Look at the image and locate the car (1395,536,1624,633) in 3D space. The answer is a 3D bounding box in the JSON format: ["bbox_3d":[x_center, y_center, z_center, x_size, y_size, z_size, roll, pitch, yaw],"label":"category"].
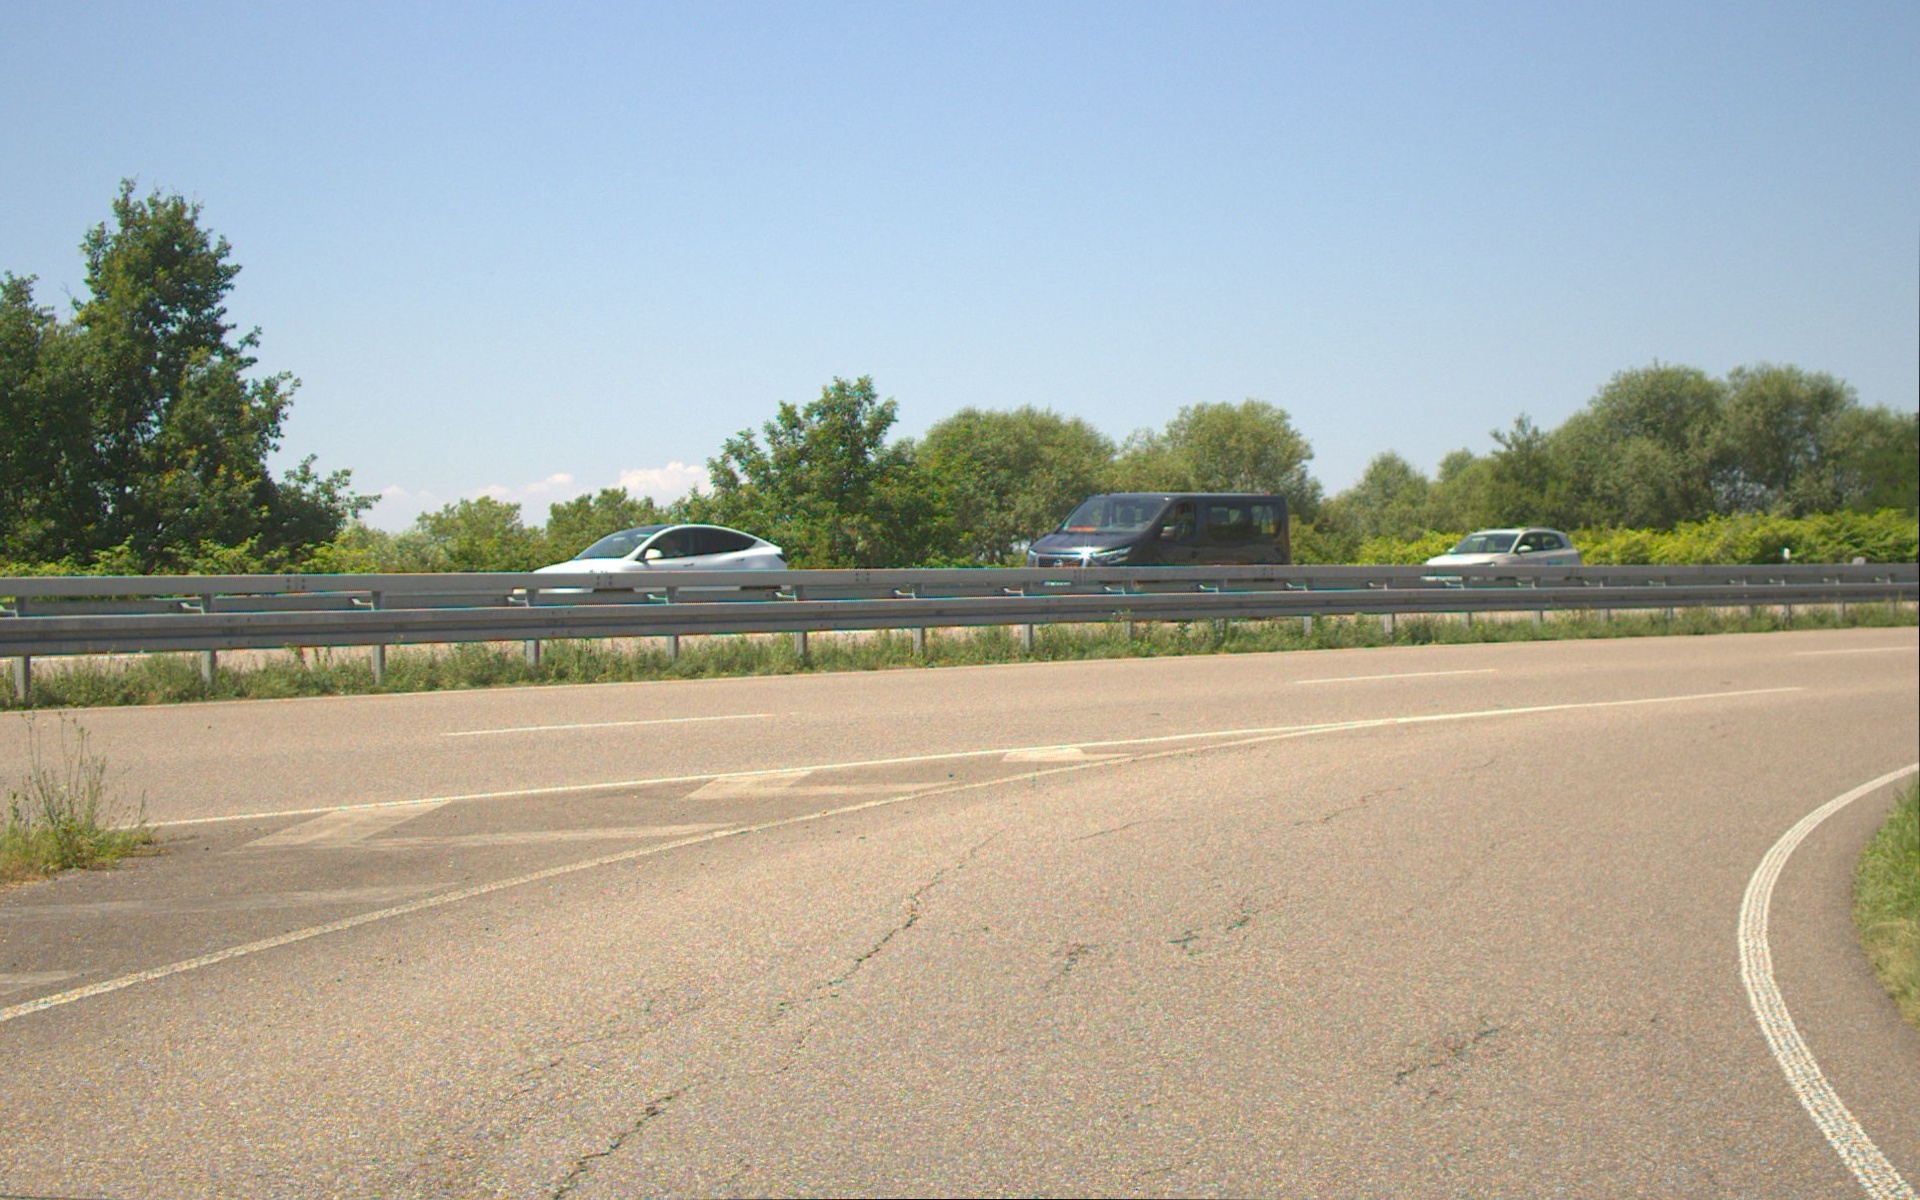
[{"bbox_3d":[11.268,-0.306,70.288,2.209,1.886,4.899,1,0,44],"label":"car"}]

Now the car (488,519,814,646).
[{"bbox_3d":[-4.822,-0.256,54.159,4.898,1.886,1.940,1,0,-42],"label":"car"}]

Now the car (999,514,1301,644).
[{"bbox_3d":[2.972,-0.303,52.841,2.209,1.886,4.901,1,0,38],"label":"car"}]
